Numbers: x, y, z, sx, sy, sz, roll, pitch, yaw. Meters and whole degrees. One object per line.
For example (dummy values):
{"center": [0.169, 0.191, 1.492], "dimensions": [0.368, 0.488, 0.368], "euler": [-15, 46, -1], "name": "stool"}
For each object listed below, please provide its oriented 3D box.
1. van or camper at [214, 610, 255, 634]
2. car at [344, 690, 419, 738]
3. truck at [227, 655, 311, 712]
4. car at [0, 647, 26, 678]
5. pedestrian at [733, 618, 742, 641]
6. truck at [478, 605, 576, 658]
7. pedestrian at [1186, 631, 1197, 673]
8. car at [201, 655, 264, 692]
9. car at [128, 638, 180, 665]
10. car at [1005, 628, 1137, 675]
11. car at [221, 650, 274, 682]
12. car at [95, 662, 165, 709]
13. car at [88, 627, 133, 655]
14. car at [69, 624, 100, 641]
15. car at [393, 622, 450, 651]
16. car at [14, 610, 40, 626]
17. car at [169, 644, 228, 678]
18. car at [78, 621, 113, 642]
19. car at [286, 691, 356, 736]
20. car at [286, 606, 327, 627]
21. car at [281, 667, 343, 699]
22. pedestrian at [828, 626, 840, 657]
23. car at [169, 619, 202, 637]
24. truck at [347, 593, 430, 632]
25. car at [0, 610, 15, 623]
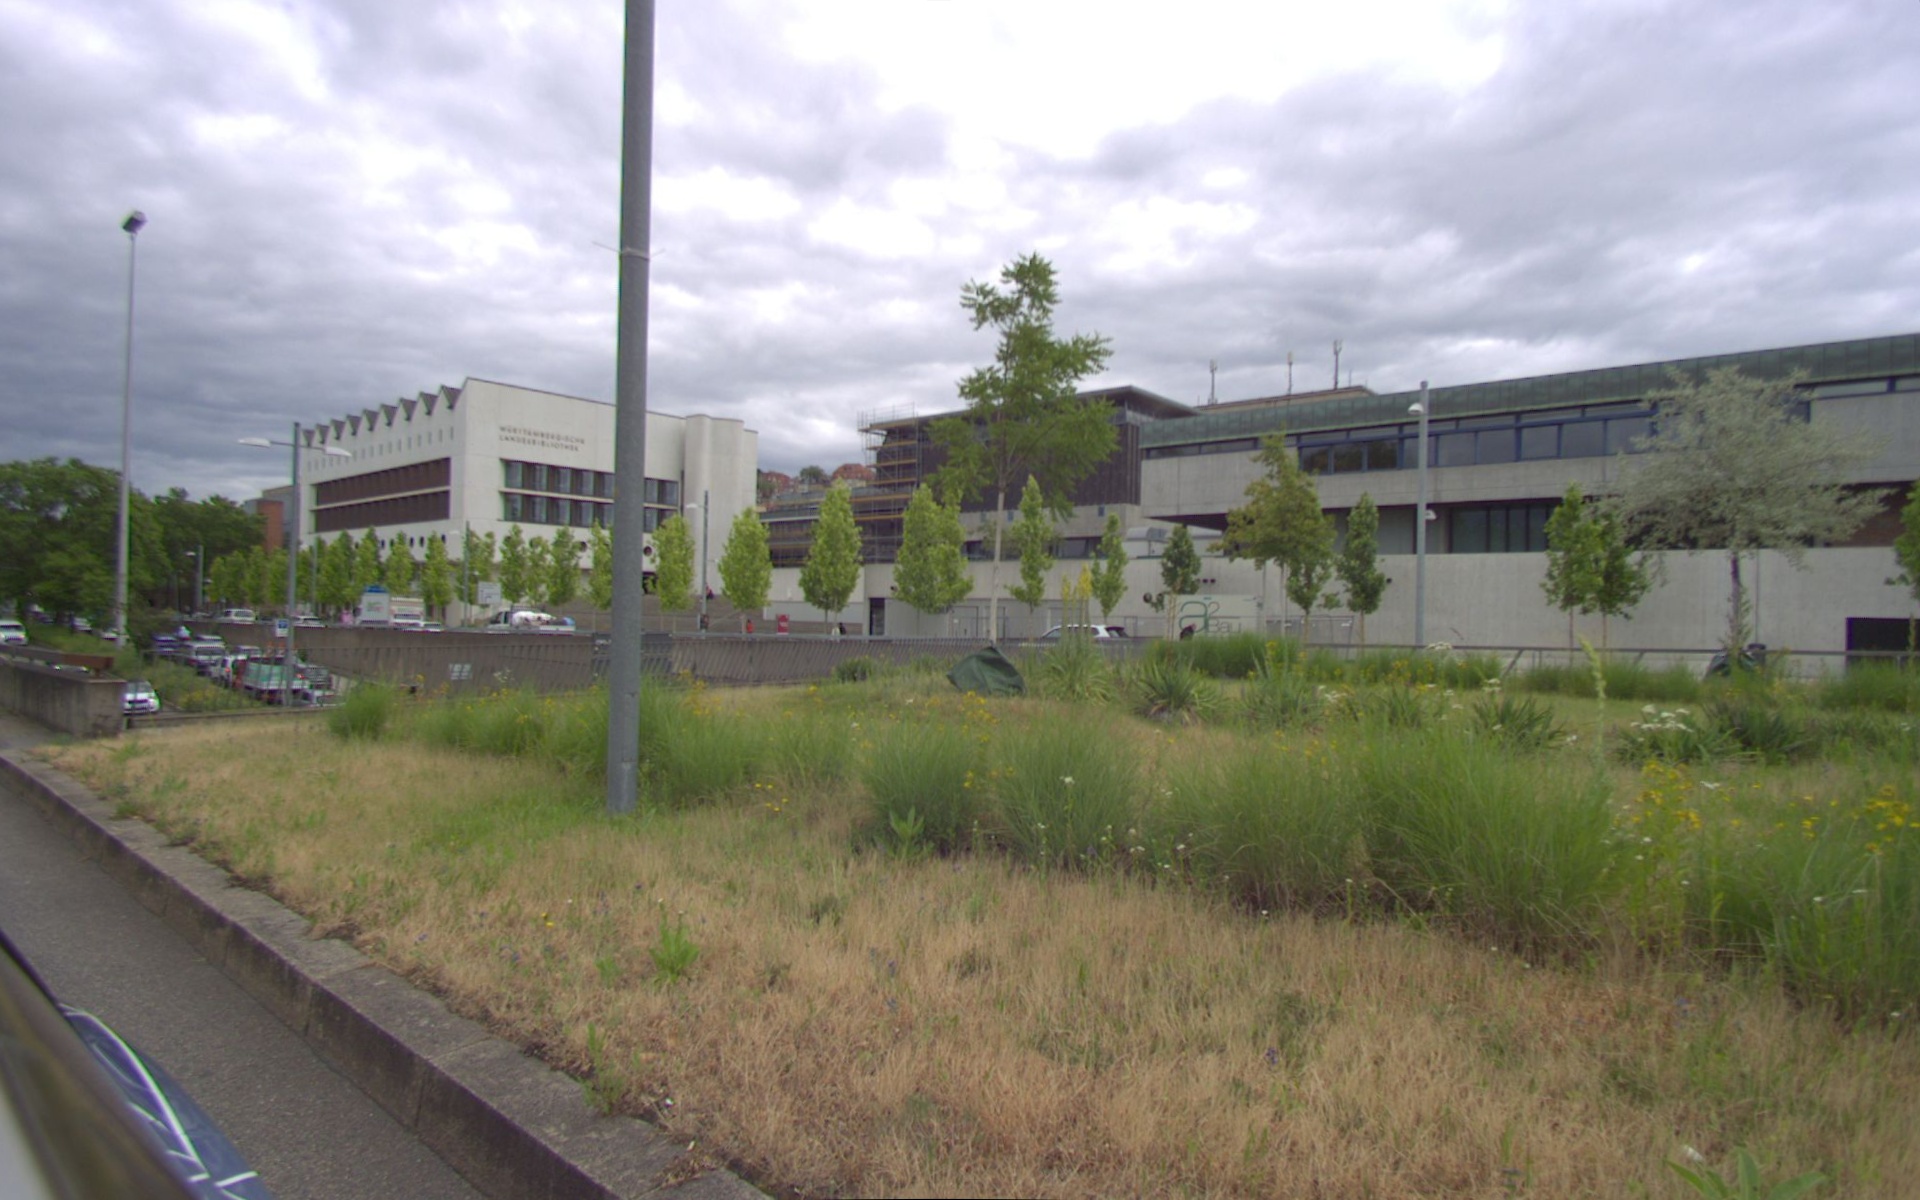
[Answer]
{"center": [-64.683, 1.979, 90.173], "dimensions": [4.555, 2.029, 1.973], "euler": [-2, -2, 41], "name": "van or camper"}
{"center": [-28.729, 5.613, 50.238], "dimensions": [4.227, 1.970, 1.973], "euler": [-1, -1, 41], "name": "car"}
{"center": [-36.397, 4.309, 53.267], "dimensions": [5.976, 2.711, 2.294], "euler": [-2, -2, 42], "name": "truck"}
{"center": [-65.372, 4.262, 69.040], "dimensions": [3.998, 2.029, 1.973], "euler": [-1, -2, 41], "name": "car"}
{"center": [-15.021, 2.014, 68.267], "dimensions": [0.461, 1.533, 0.377], "euler": [-1, -1, 35], "name": "pedestrian"}
{"center": [-24.594, 1.801, 57.333], "dimensions": [7.077, 2.838, 2.437], "euler": [-2, -2, 43], "name": "truck"}
{"center": [8.557, 1.900, 37.392], "dimensions": [0.316, 1.533, 0.314], "euler": [-1, -1, 35], "name": "pedestrian"}
{"center": [-41.971, 4.222, 58.386], "dimensions": [3.998, 2.029, 1.973], "euler": [-2, -5, 41], "name": "car"}
{"center": [-56.044, 3.555, 70.338], "dimensions": [4.279, 1.757, 1.973], "euler": [-2, -5, 41], "name": "car"}
{"center": [3.953, 1.823, 36.516], "dimensions": [4.611, 1.586, 1.700], "euler": [-2, -2, 43], "name": "car"}
{"center": [-48.402, 4.446, 68.723], "dimensions": [3.998, 2.029, 1.973], "euler": [-2, -5, 41], "name": "car"}
{"center": [-39.962, 4.061, 48.676], "dimensions": [3.998, 2.029, 1.972], "euler": [-2, -2, 41], "name": "car"}
{"center": [-69.308, 3.376, 82.552], "dimensions": [4.849, 2.148, 1.972], "euler": [-2, -5, 41], "name": "car"}
{"center": [-78.836, 2.956, 91.117], "dimensions": [3.360, 1.497, 1.653], "euler": [-1, -2, 41], "name": "car"}
{"center": [-35.627, 2.406, 66.877], "dimensions": [4.256, 1.830, 1.973], "euler": [-2, -2, 41], "name": "car"}
{"center": [-117.227, 2.241, 127.205], "dimensions": [3.997, 2.029, 1.973], "euler": [-1, -1, 41], "name": "car"}
{"center": [-47.877, 3.830, 63.609], "dimensions": [4.330, 2.029, 1.973], "euler": [-2, -5, 41], "name": "car"}
{"center": [-86.021, 3.139, 100.708], "dimensions": [4.653, 2.029, 1.973], "euler": [-2, -2, 41], "name": "car"}
{"center": [-30.579, 5.399, 48.419], "dimensions": [3.925, 1.829, 1.771], "euler": [-2, -2, 40], "name": "car"}
{"center": [-52.057, 1.295, 80.577], "dimensions": [4.269, 1.586, 1.700], "euler": [-2, -2, 42], "name": "car"}
{"center": [-37.644, 4.784, 58.744], "dimensions": [3.998, 1.564, 1.973], "euler": [-1, -1, 41], "name": "car"}
{"center": [-6.352, 2.076, 51.087], "dimensions": [0.461, 1.533, 0.424], "euler": [-1, -1, 35], "name": "pedestrian"}
{"center": [-79.944, 2.903, 104.493], "dimensions": [3.998, 1.830, 1.973], "euler": [-2, -2, 41], "name": "car"}
{"center": [-44.268, 0.999, 78.307], "dimensions": [7.245, 2.809, 3.199], "euler": [-2, -2, 39], "name": "truck"}
{"center": [-111.528, 1.931, 117.960], "dimensions": [3.360, 1.497, 1.653], "euler": [-2, -2, 41], "name": "car"}
